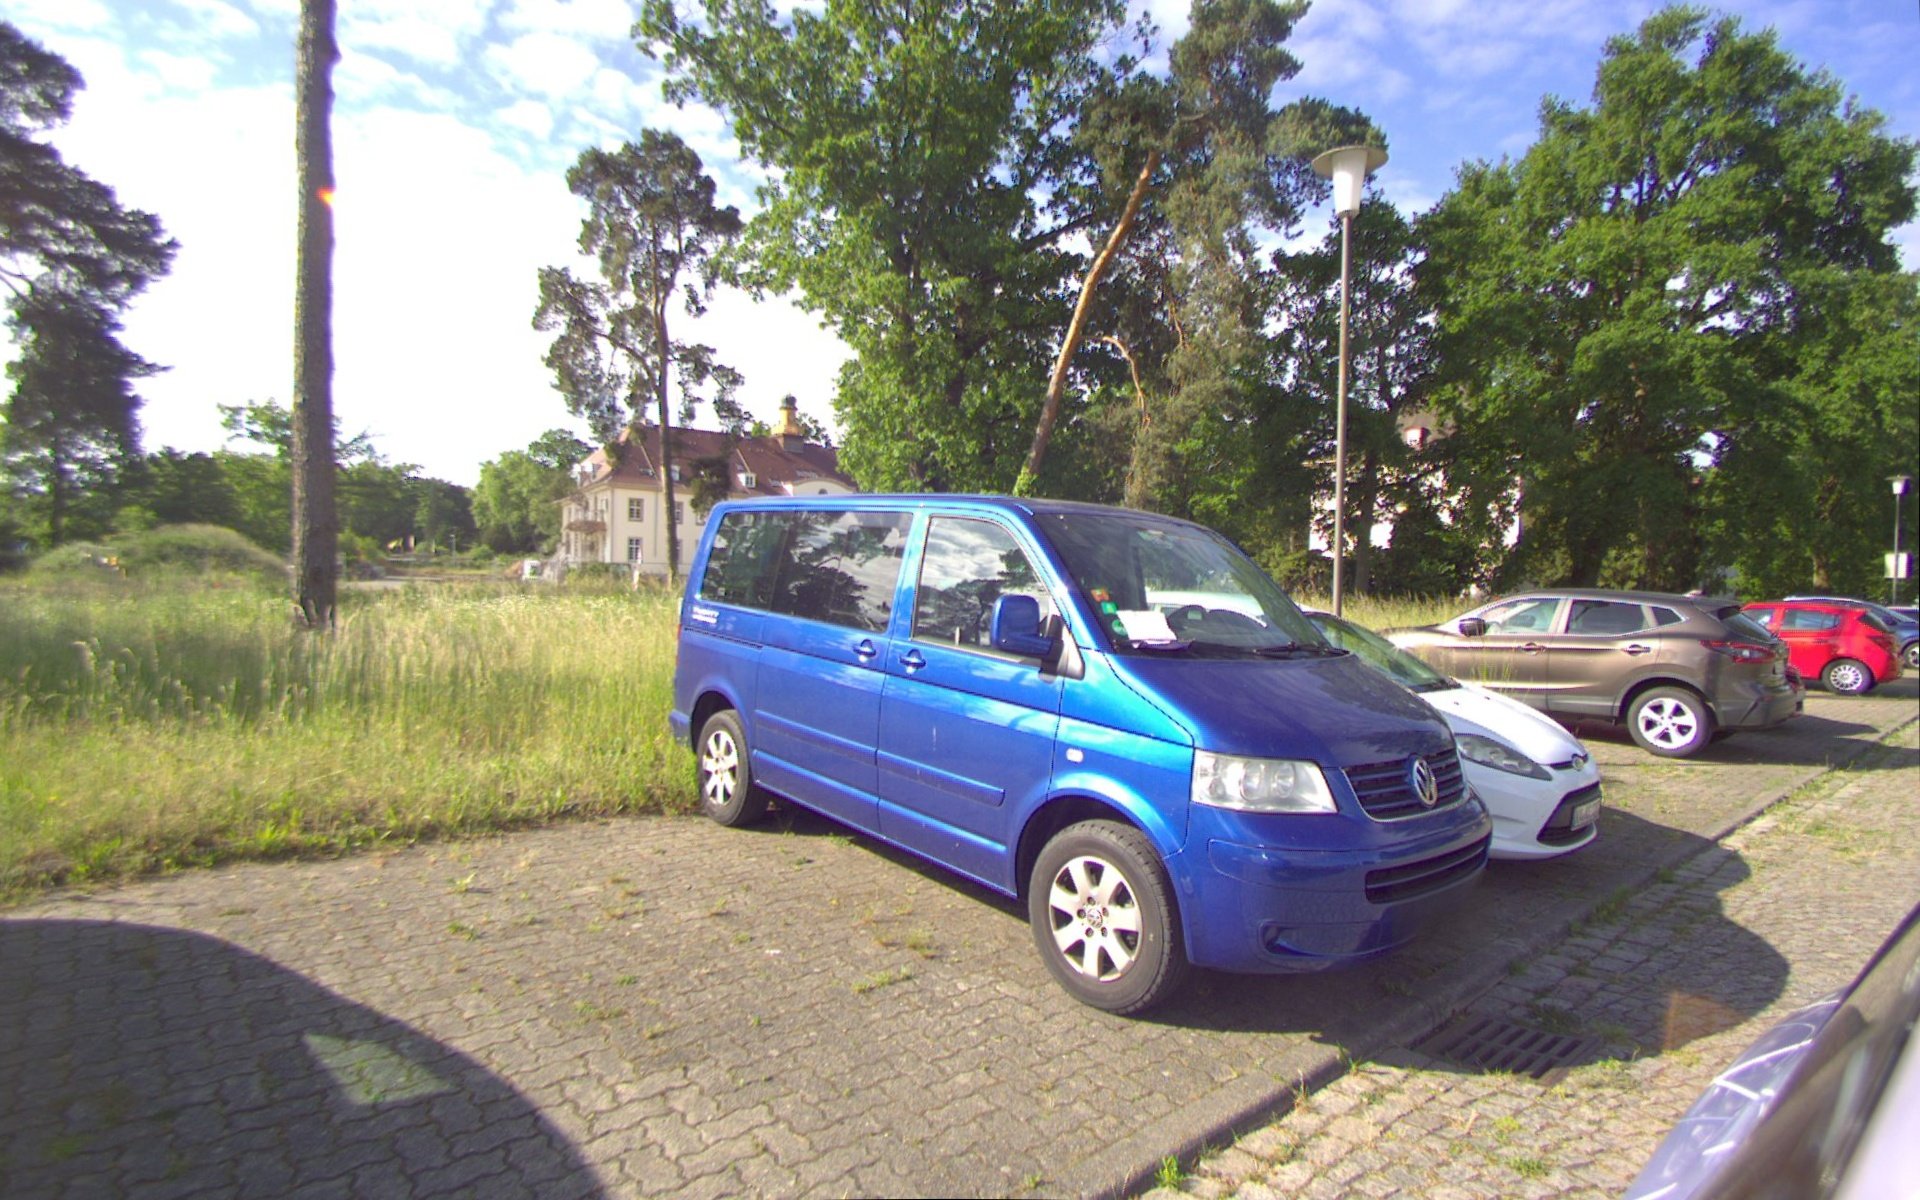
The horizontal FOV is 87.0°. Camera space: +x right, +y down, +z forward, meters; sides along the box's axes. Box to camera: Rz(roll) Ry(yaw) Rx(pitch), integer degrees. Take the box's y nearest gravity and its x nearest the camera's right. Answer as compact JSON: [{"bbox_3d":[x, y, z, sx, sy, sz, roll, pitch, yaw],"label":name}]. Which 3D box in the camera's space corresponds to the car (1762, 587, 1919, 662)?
[{"bbox_3d":[22.141,0.585,24.387,1.821,1.576,4.095,1,3,-41],"label":"car"}]

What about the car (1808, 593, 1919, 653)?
[{"bbox_3d":[25.707,0.670,27.296,1.754,1.440,4.095,1,3,-41],"label":"car"}]

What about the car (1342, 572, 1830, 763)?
[{"bbox_3d":[6.728,0.553,11.234,1.902,1.617,4.232,-1,3,-43],"label":"car"}]

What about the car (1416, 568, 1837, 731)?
[{"bbox_3d":[8.521,0.486,13.236,1.902,1.617,4.232,-1,4,-43],"label":"car"}]

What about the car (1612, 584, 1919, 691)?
[{"bbox_3d":[14.262,0.568,18.017,1.821,1.477,4.095,1,3,-41],"label":"car"}]

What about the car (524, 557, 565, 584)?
[{"bbox_3d":[-37.576,-2.636,91.494,1.967,2.240,4.422,0,0,-44],"label":"car"}]

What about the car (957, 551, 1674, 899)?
[{"bbox_3d":[2.143,0.523,7.185,1.905,1.596,4.408,0,3,-40],"label":"car"}]

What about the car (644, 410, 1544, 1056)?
[{"bbox_3d":[0.202,0.275,5.499,1.965,1.959,4.709,0,3,-40],"label":"car"}]
